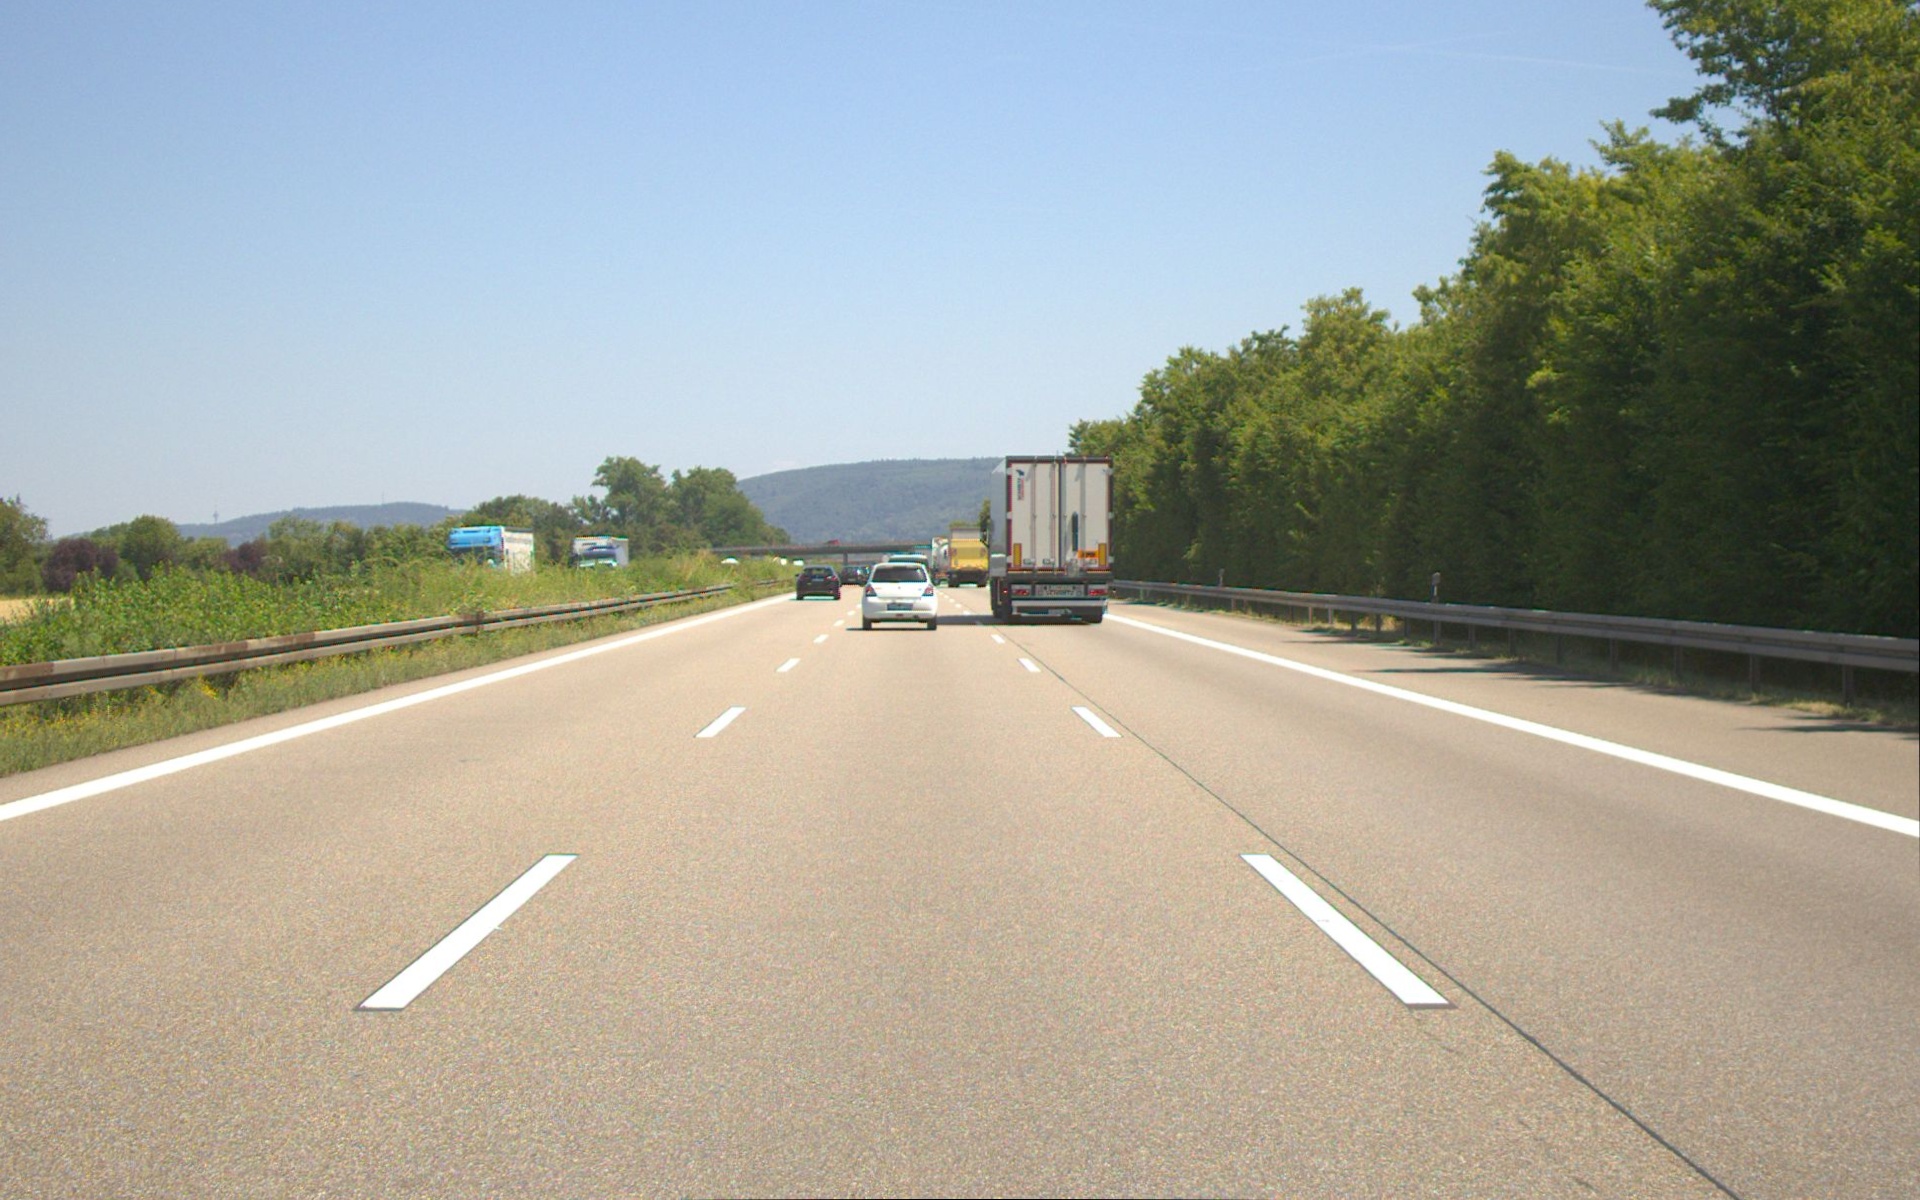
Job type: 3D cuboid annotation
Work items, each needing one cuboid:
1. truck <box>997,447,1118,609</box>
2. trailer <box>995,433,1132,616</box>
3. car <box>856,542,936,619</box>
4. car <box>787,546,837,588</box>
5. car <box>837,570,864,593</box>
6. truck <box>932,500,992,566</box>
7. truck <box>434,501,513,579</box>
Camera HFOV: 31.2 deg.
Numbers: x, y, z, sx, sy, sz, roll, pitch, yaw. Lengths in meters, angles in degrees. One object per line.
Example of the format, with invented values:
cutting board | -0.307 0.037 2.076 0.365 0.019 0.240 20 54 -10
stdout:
truck | 2.680 -1.998 96.364 3.218 4.330 6.590 1 1 1
trailer | 2.566 -1.893 88.934 3.218 4.330 13.629 1 1 1
car | -1.465 -0.465 78.089 1.732 1.678 4.000 -1 1 -2
car | -6.142 -1.371 143.116 1.993 1.706 4.000 1 1 -2
car | -7.575 -1.297 237.211 1.795 1.545 4.000 0 0 -1
truck | 0.090 -4.553 236.109 3.871 4.330 13.861 1 1 -1
truck | -23.584 -2.907 166.832 3.110 3.686 5.198 1 1 -1
